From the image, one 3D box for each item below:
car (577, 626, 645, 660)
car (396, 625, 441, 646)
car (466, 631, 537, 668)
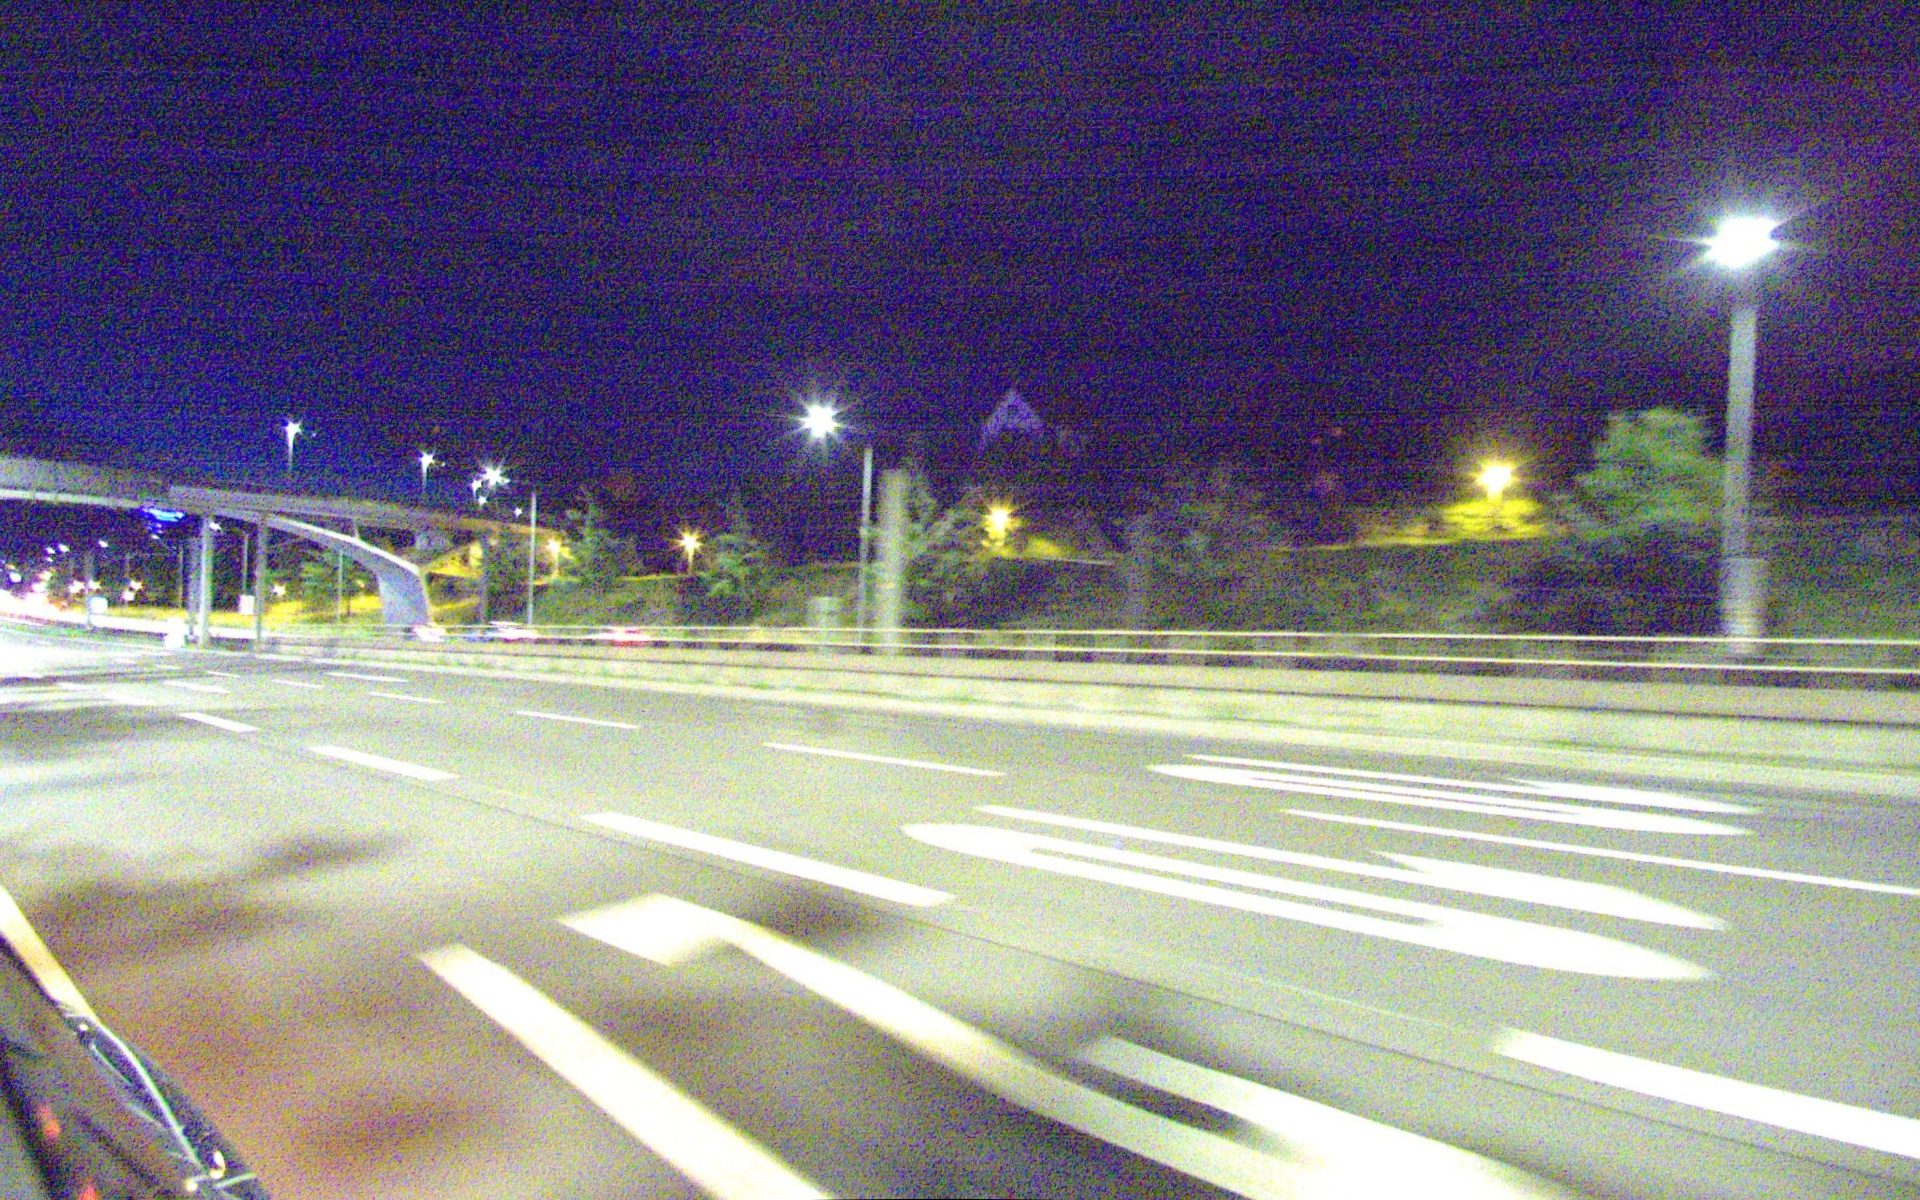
[{"bbox_3d":[-19.625,2.401,56.913,3.997,1.697,1.813,1,1,40],"label":"car"},{"bbox_3d":[-36.763,2.409,68.683,3.388,1.279,1.512,1,1,40],"label":"car"},{"bbox_3d":[-23.080,2.460,50.868,3.998,1.707,1.782,0,0,41],"label":"car"}]
